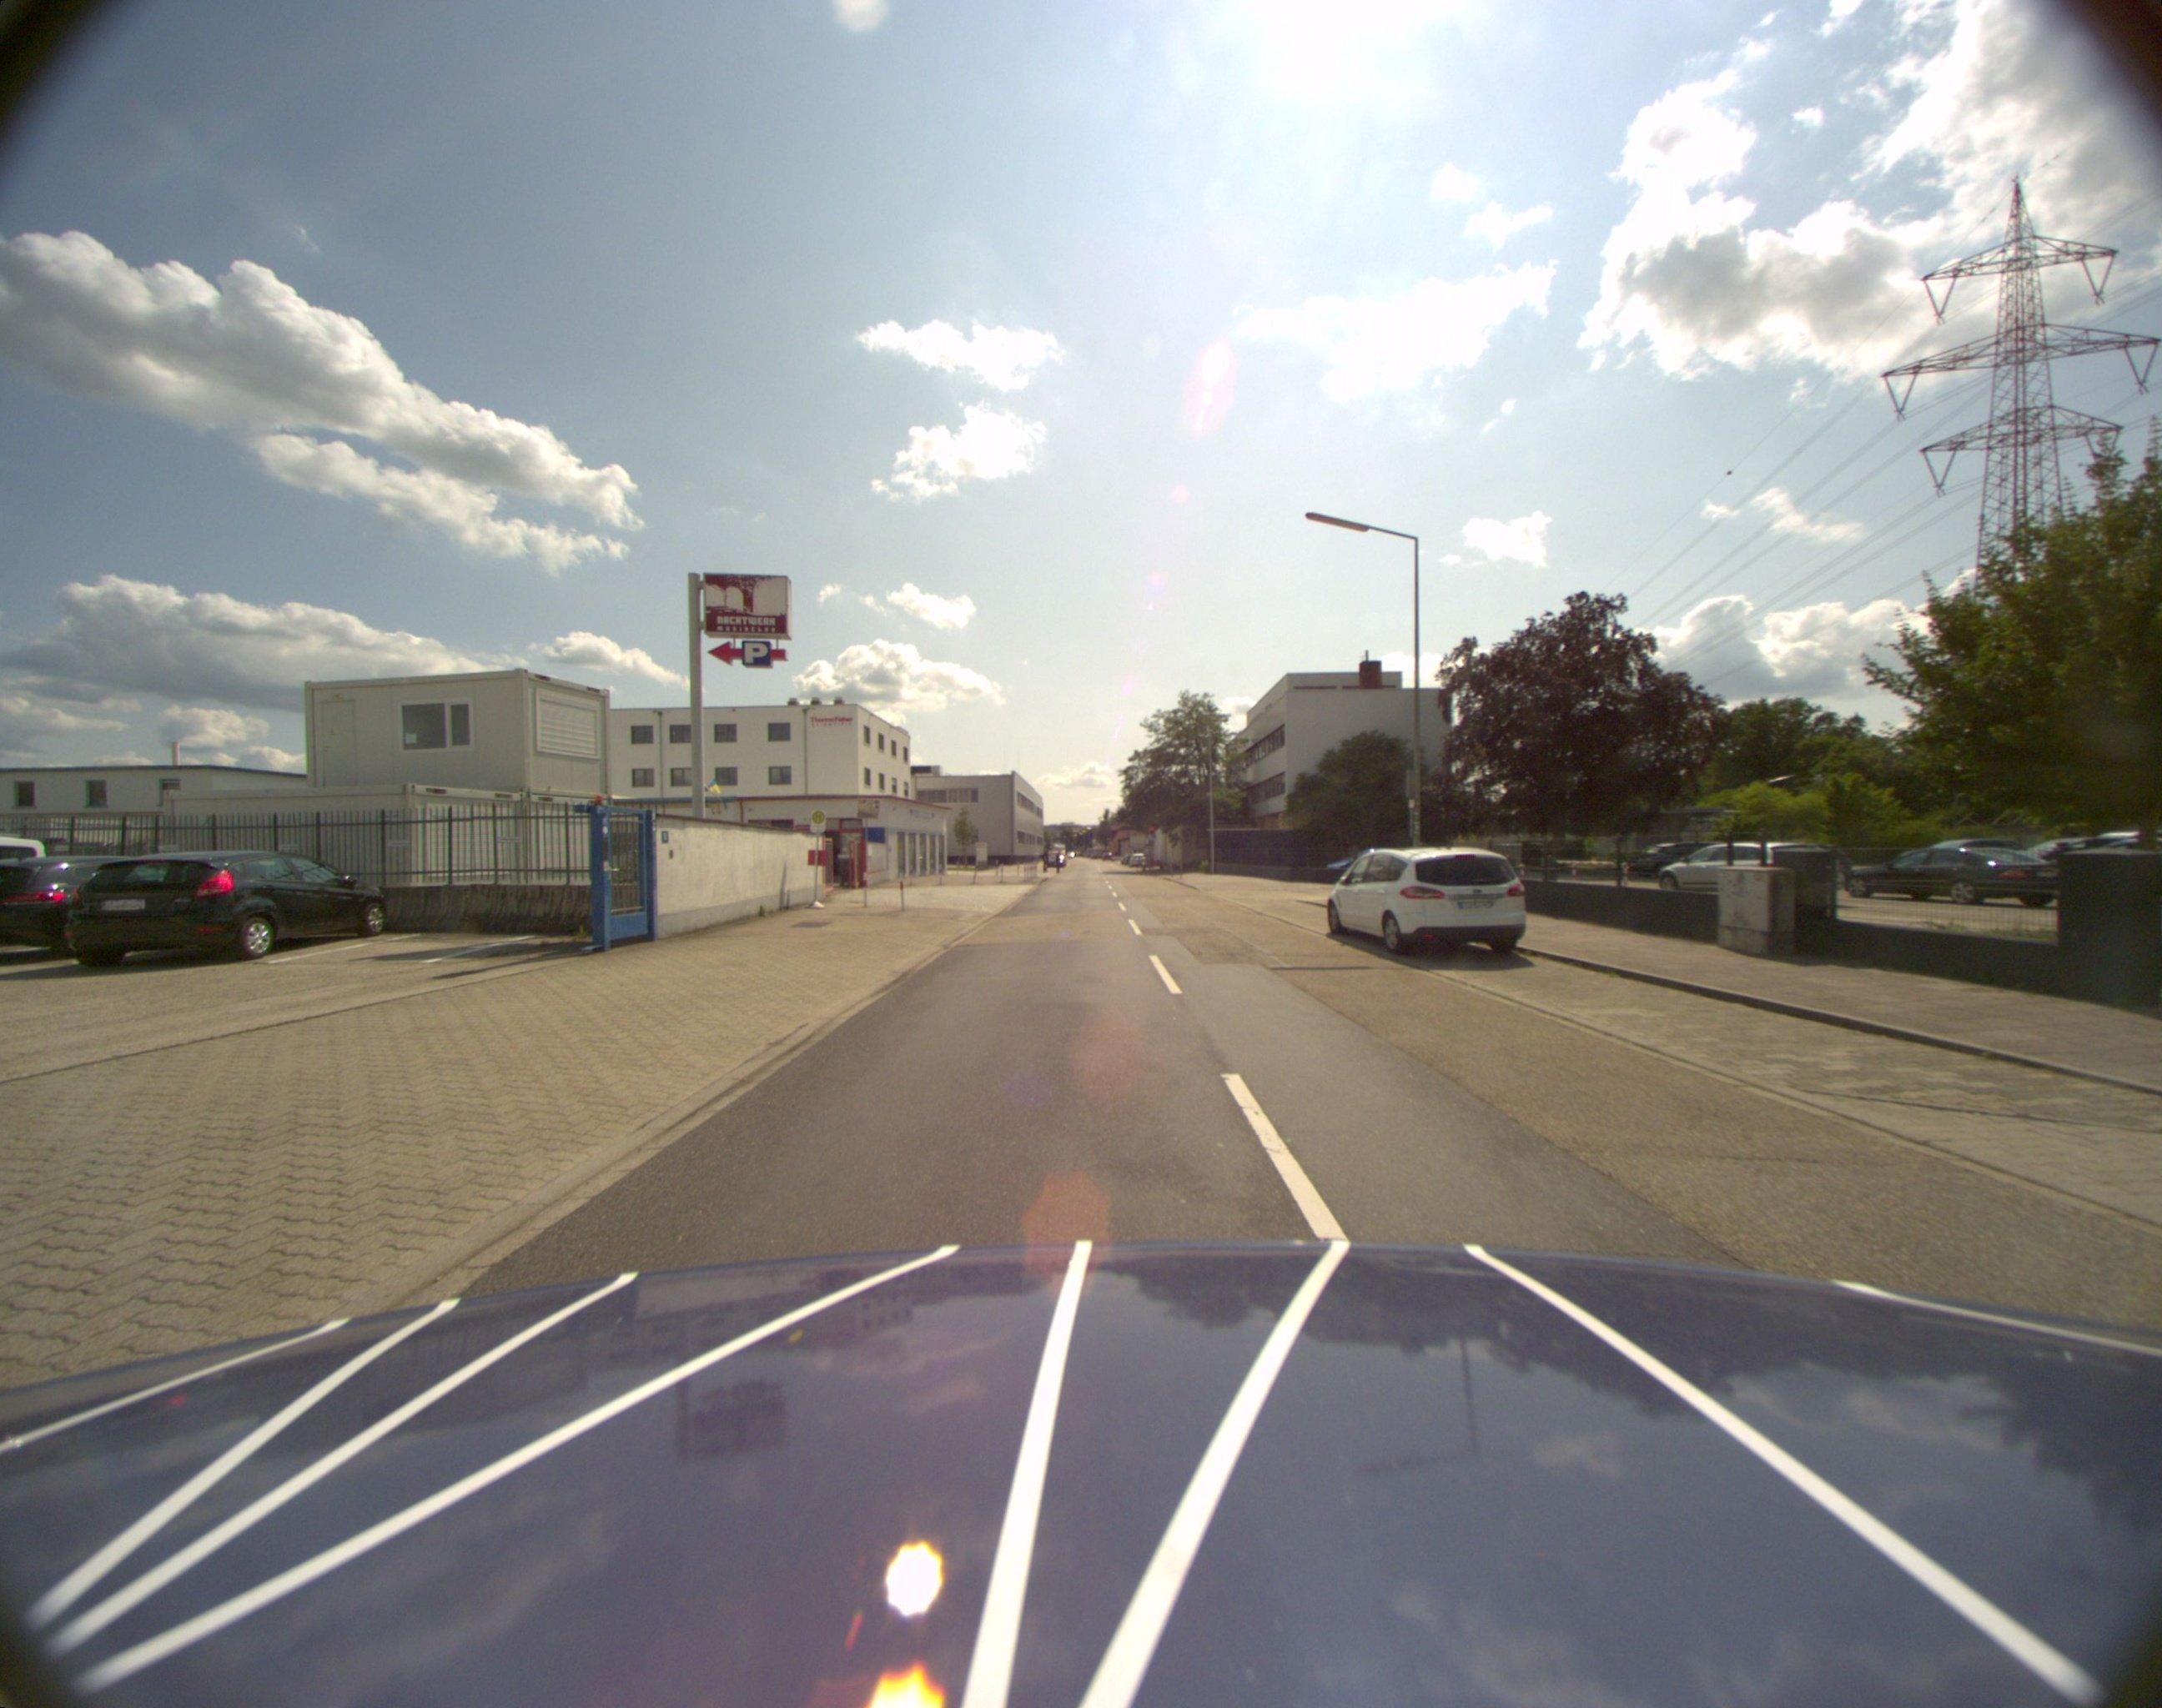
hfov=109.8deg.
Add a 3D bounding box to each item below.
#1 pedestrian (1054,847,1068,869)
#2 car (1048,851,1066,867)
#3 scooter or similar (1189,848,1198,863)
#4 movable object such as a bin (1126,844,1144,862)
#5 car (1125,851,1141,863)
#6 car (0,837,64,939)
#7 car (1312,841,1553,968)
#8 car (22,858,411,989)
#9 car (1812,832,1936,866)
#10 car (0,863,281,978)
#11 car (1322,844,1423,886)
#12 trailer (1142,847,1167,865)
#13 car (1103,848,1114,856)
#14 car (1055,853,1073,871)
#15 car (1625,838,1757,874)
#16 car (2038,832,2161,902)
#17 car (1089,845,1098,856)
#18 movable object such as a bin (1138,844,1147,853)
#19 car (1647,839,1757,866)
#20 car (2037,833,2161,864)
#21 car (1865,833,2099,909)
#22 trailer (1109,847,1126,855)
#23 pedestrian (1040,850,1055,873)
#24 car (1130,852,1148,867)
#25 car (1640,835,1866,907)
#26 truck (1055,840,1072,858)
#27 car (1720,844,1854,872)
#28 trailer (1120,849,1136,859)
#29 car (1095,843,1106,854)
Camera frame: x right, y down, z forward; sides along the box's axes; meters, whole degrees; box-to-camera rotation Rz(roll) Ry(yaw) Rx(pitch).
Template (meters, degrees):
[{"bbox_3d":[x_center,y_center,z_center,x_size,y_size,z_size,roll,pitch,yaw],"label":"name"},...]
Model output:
[{"bbox_3d":[-1.685,0.315,63.552,0.860,1.797,1.003,-1,1,-22],"label":"pedestrian"},{"bbox_3d":[-2.587,0.523,83.809,1.663,1.549,4.177,-4,1,2],"label":"car"},{"bbox_3d":[9.468,0.126,64.043,0.483,1.272,1.360,-4,1,1],"label":"scooter or similar"},{"bbox_3d":[6.333,-0.167,89.481,1.618,1.908,5.137,-5,1,0],"label":"movable object such as a bin"},{"bbox_3d":[6.604,0.391,97.274,1.677,1.447,4.223,-3,1,0],"label":"car"},{"bbox_3d":[-19.789,0.617,12.138,1.692,1.796,4.274,-1,1,-9],"label":"car"},{"bbox_3d":[5.585,0.661,12.886,1.872,1.698,4.752,-2,1,0],"label":"car"},{"bbox_3d":[-11.952,0.826,10.974,1.746,1.433,3.828,-1,1,-13],"label":"car"},{"bbox_3d":[40.758,-0.265,39.130,4.207,1.653,1.838,0,1,7],"label":"car"},{"bbox_3d":[-14.674,0.874,11.354,1.956,1.369,3.994,-1,1,-16],"label":"car"},{"bbox_3d":[12.554,0.454,32.885,3.657,1.698,1.878,-1,1,0],"label":"car"},{"bbox_3d":[6.576,0.172,68.292,1.771,1.431,4.335,-4,1,1],"label":"trailer"},{"bbox_3d":[5.211,-0.385,145.565,1.714,1.459,4.628,-4,1,-1],"label":"car"},{"bbox_3d":[-2.003,0.887,88.838,1.877,1.881,4.451,-5,1,-1],"label":"car"},{"bbox_3d":[26.338,0.095,32.918,4.207,1.493,1.681,0,1,5],"label":"car"},{"bbox_3d":[27.258,0.299,18.936,1.876,1.698,4.068,-1,1,6],"label":"car"},{"bbox_3d":[3.189,-0.962,200.293,1.999,2.556,5.822,-4,1,-2],"label":"car"},{"bbox_3d":[9.711,-0.902,119.926,1.319,1.419,1.151,-1,1,-5],"label":"movable object such as a bin"},{"bbox_3d":[33.624,-0.094,41.241,4.291,1.400,1.830,0,1,5],"label":"car"},{"bbox_3d":[42.199,-0.224,31.279,3.318,1.223,1.681,0,1,5],"label":"car"},{"bbox_3d":[22.225,0.355,18.976,1.876,1.698,3.481,-1,1,7],"label":"car"},{"bbox_3d":[6.122,-0.469,126.777,2.457,1.157,6.051,-3,1,0],"label":"trailer"},{"bbox_3d":[-2.794,0.609,63.262,0.994,1.940,1.089,-1,1,-22],"label":"pedestrian"},{"bbox_3d":[6.386,0.562,84.384,1.677,1.447,4.513,-3,1,1],"label":"car"},{"bbox_3d":[17.103,0.352,19.758,1.828,1.627,4.845,0,1,4],"label":"car"},{"bbox_3d":[-3.325,-0.941,144.973,2.608,3.207,8.073,-4,1,-4],"label":"truck"},{"bbox_3d":[32.006,0.157,34.556,4.207,1.220,1.830,0,1,5],"label":"car"},{"bbox_3d":[6.659,-0.015,108.171,1.772,1.368,5.049,-3,1,-1],"label":"trailer"},{"bbox_3d":[4.505,-1.270,177.301,2.079,2.527,5.822,-4,1,-2],"label":"car"}]
